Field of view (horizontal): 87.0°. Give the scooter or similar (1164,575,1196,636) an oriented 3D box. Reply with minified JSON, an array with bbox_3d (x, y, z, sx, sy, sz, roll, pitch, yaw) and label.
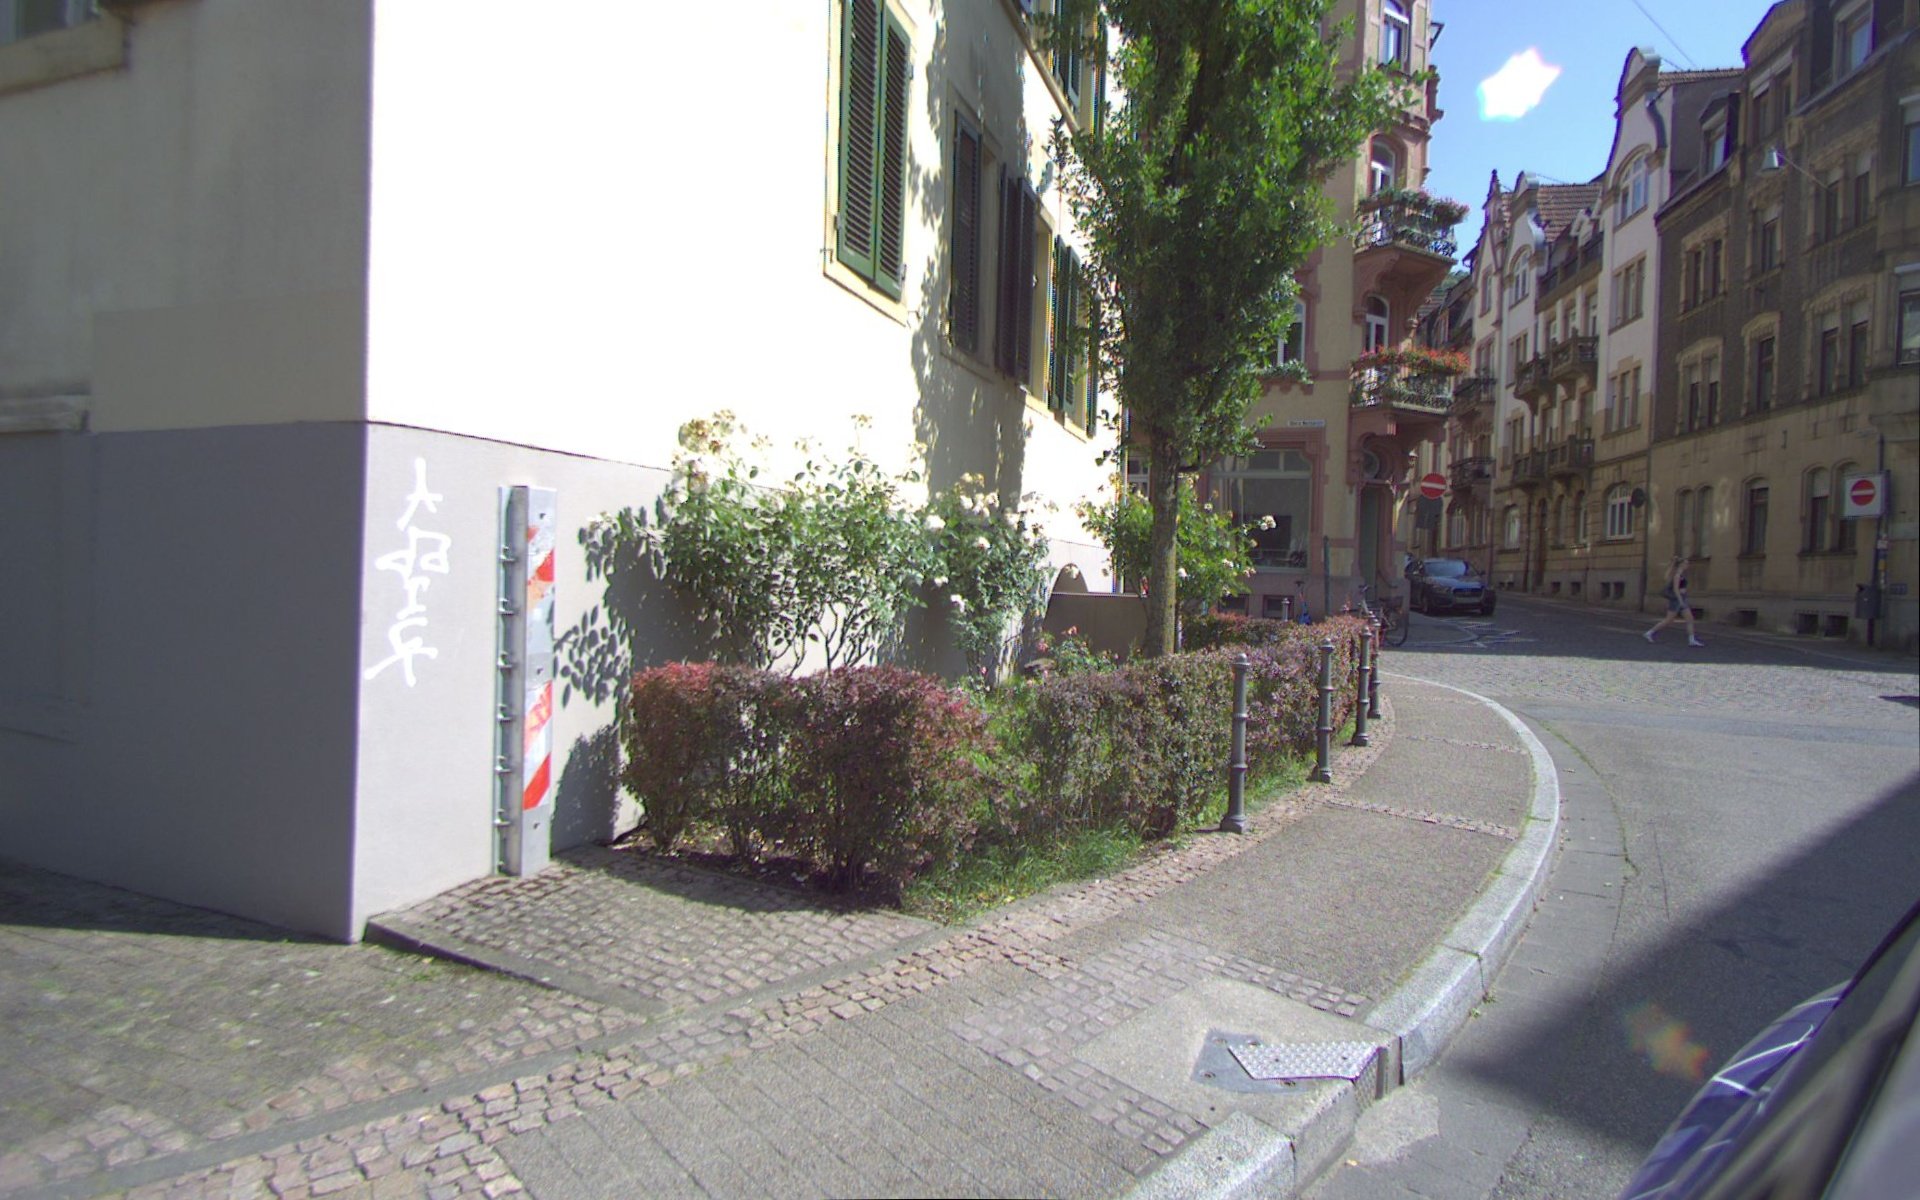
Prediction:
[{"bbox_3d":[4.625,0.106,21.326,0.405,1.224,1.235,2,2,1],"label":"scooter or similar"}]

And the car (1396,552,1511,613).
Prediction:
[{"bbox_3d":[14.212,-0.570,29.403,1.832,1.602,4.251,0,3,10],"label":"car"}]

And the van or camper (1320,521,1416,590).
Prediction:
[{"bbox_3d":[16.703,-1.926,41.868,2.191,2.550,6.754,2,4,10],"label":"van or camper"}]

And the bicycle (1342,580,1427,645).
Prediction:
[{"bbox_3d":[8.378,0.220,20.046,0.495,1.160,1.798,1,2,-16],"label":"bicycle"}]

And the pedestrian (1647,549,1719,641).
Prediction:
[{"bbox_3d":[14.461,-0.120,20.271,0.968,1.779,0.620,1,5,20],"label":"pedestrian"}]

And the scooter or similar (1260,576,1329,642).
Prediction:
[{"bbox_3d":[6.583,0.172,19.944,1.170,1.250,0.441,2,1,7],"label":"scooter or similar"}]

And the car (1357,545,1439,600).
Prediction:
[{"bbox_3d":[14.948,-0.994,34.714,1.734,1.726,3.990,-1,3,11],"label":"car"}]

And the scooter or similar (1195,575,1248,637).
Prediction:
[{"bbox_3d":[5.401,0.119,20.959,0.335,1.224,1.193,1,2,-25],"label":"scooter or similar"}]

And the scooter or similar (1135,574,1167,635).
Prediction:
[{"bbox_3d":[4.026,0.074,21.402,0.335,1.224,1.192,1,2,-5],"label":"scooter or similar"}]
